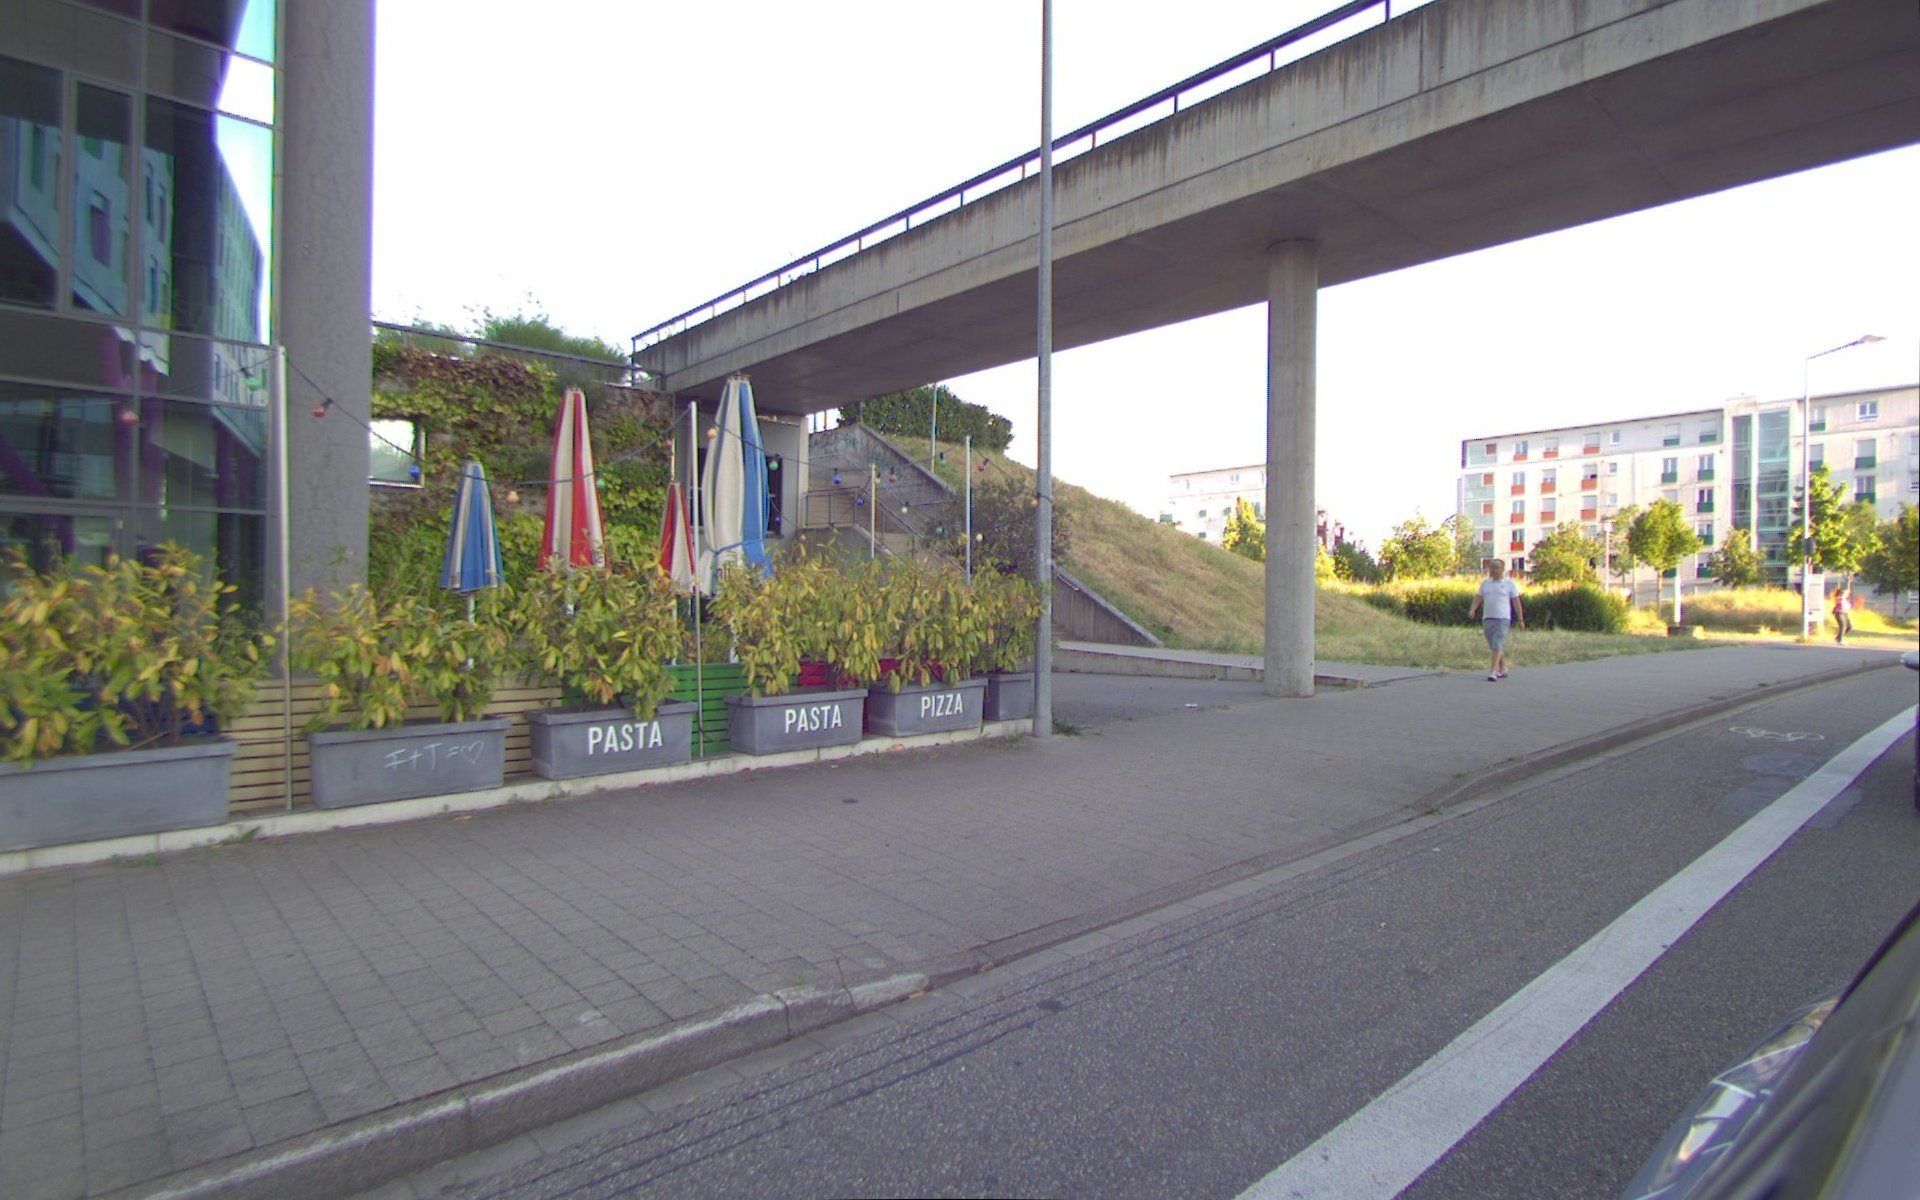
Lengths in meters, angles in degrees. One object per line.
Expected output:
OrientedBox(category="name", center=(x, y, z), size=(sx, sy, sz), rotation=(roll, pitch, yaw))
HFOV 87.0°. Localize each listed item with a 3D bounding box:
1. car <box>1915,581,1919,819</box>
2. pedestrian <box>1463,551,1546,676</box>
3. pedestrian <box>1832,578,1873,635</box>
OrientedBox(category="car", center=(8.011, 0.636, 6.942), size=(3.930, 1.482, 1.738), rotation=(0, 0, -41))
OrientedBox(category="pedestrian", center=(7.921, 0.183, 14.727), size=(0.890, 1.745, 0.737), rotation=(1, 2, -40))
OrientedBox(category="pedestrian", center=(26.501, 0.177, 30.055), size=(0.844, 1.649, 0.737), rotation=(1, 2, -40))
